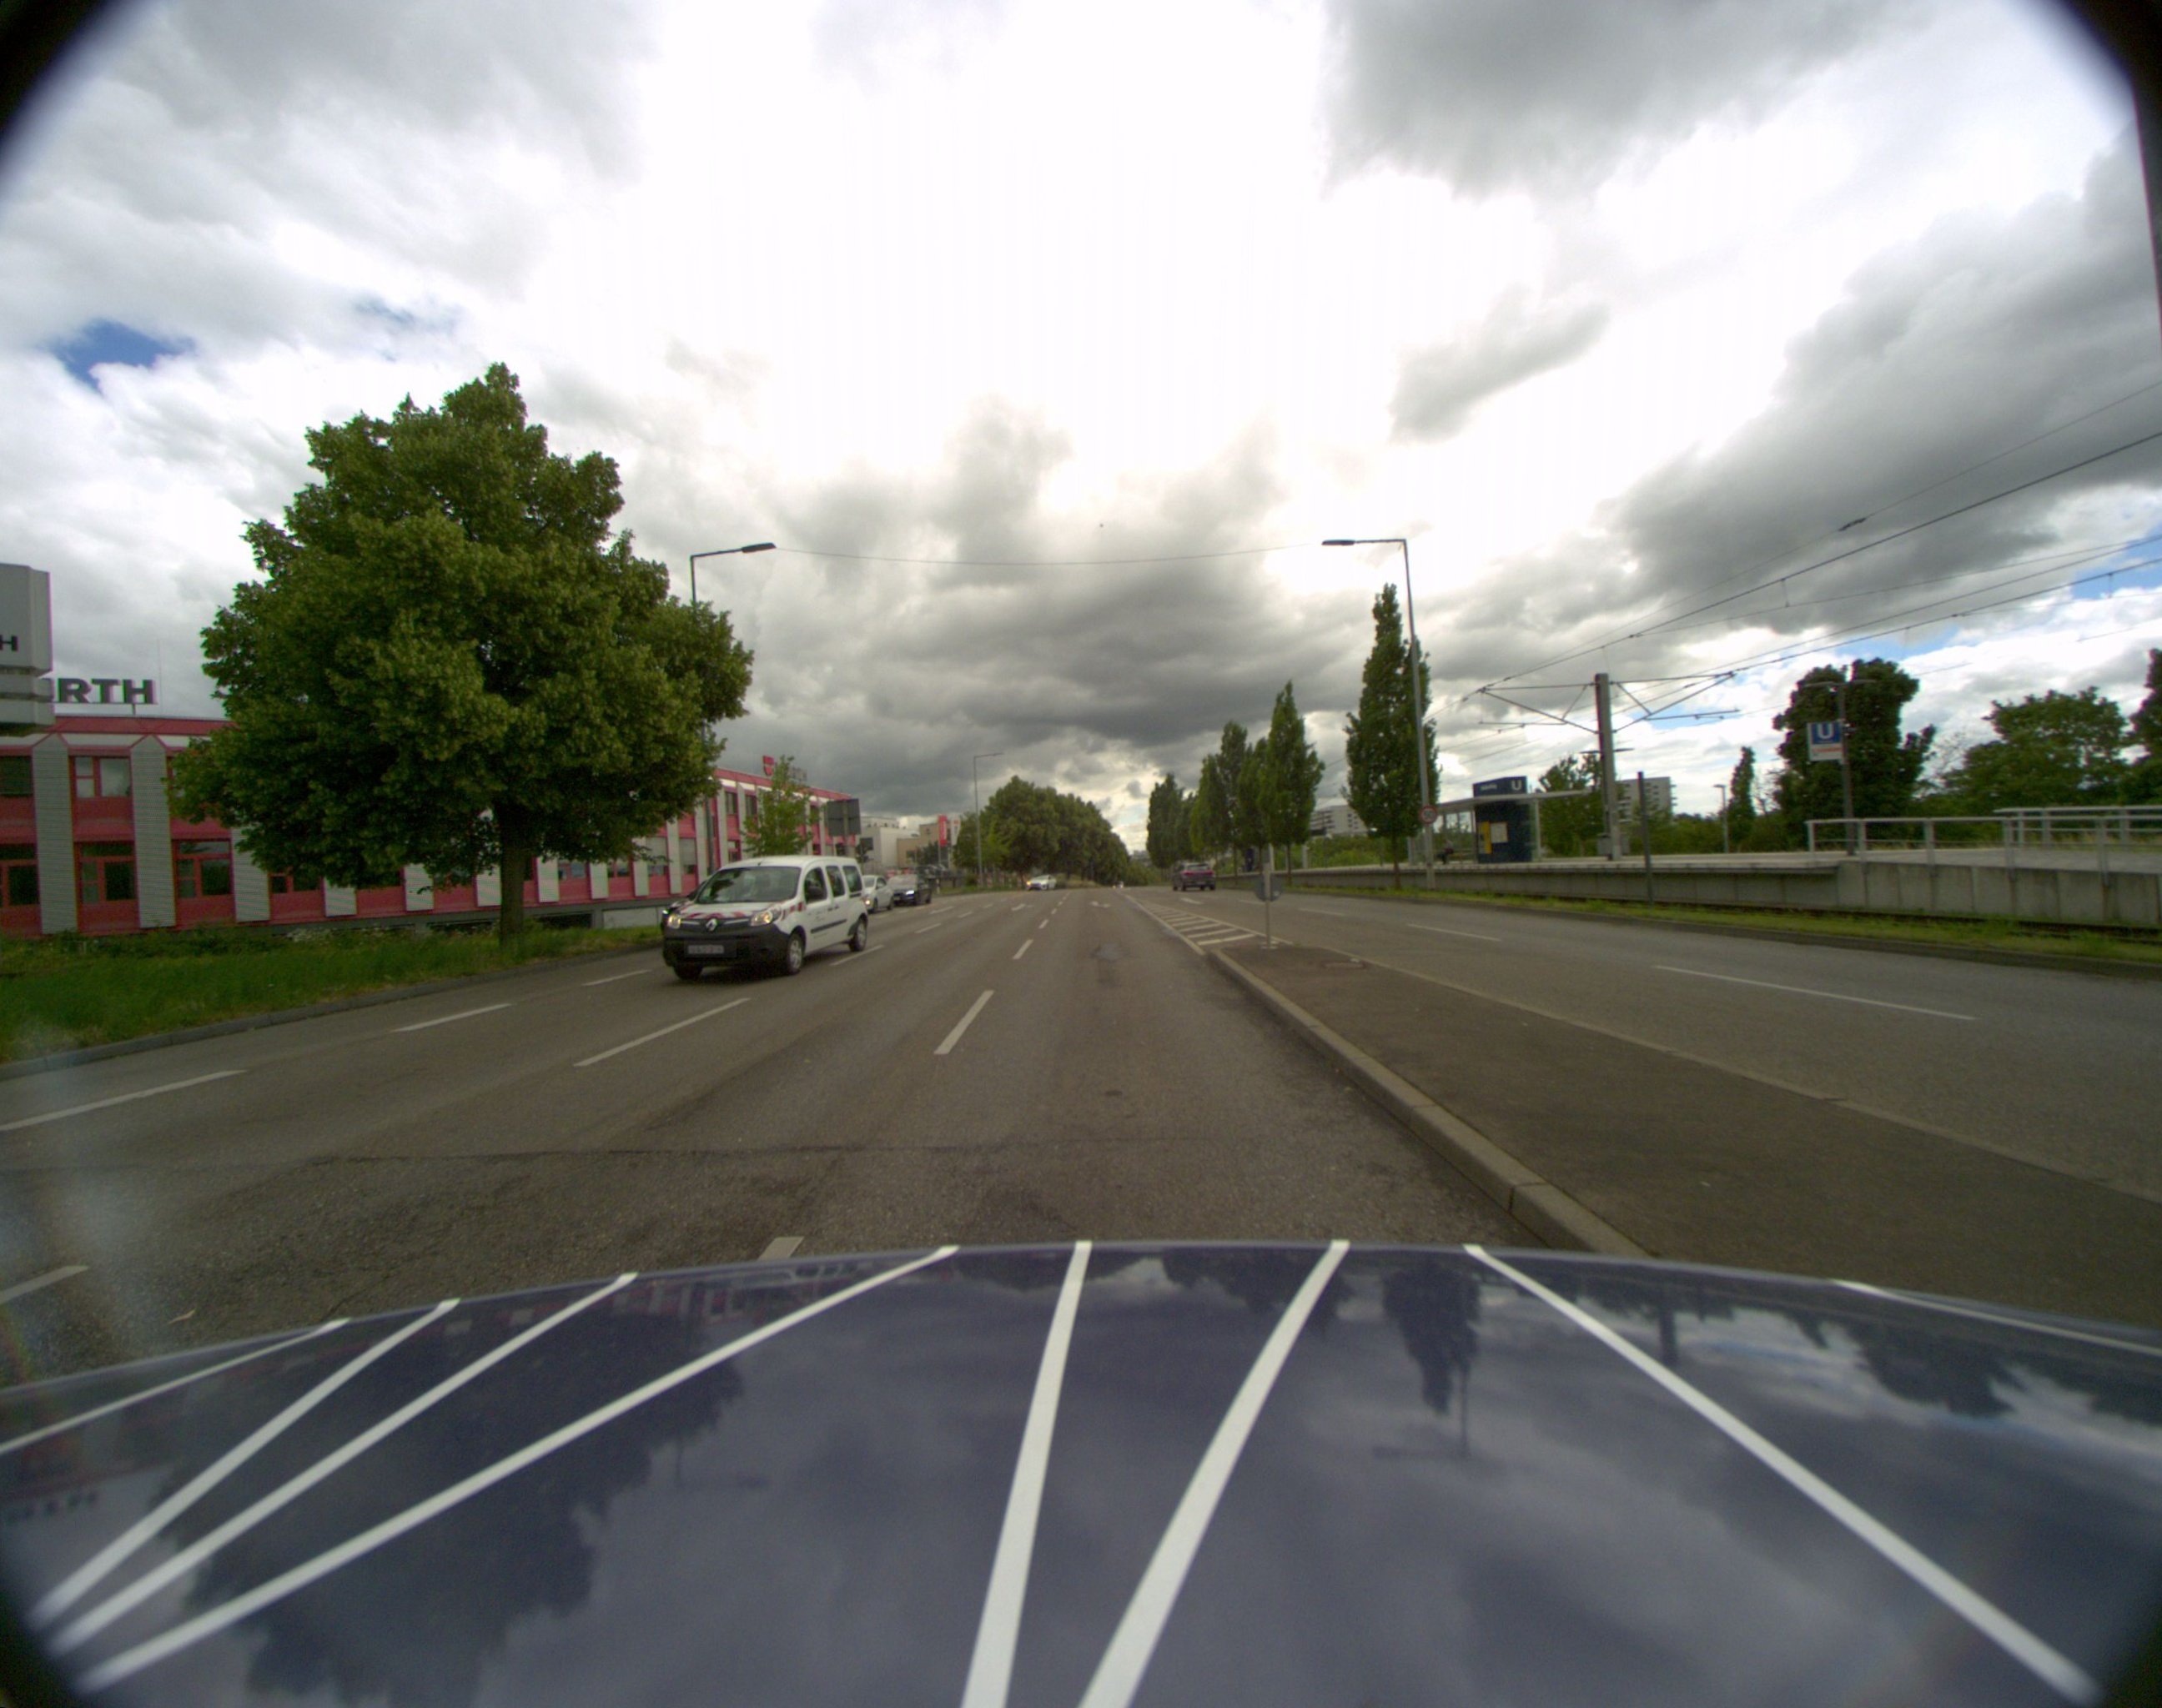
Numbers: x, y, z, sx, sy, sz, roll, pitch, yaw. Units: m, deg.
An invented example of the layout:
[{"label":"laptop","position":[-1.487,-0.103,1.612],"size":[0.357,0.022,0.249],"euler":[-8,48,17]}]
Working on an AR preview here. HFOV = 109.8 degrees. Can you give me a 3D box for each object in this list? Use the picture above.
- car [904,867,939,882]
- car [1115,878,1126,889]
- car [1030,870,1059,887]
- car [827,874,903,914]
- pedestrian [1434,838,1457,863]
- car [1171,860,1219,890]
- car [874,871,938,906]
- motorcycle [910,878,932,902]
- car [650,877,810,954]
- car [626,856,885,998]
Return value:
[{"label":"car","position":[-21.211,2.691,101.001],"size":[4.248,1.744,1.784],"euler":[-2,0,2]},{"label":"car","position":[7.002,5.285,135.334],"size":[1.782,1.744,4.253],"euler":[-2,0,4]},{"label":"car","position":[-3.184,2.186,67.111],"size":[1.784,1.353,4.484],"euler":[-2,-3,7]},{"label":"car","position":[-8.469,1.555,30.104],"size":[1.785,1.434,3.836],"euler":[-1,-2,1]},{"label":"pedestrian","position":[17.624,-0.175,36.728],"size":[0.663,1.195,0.782],"euler":[-2,0,-7]},{"label":"car","position":[6.385,1.129,42.914],"size":[1.783,1.537,4.223],"euler":[-2,0,-4]},{"label":"car","position":[-8.017,1.564,35.202],"size":[1.785,1.437,4.530],"euler":[-1,-2,1]},{"label":"motorcycle","position":[-8.319,1.862,39.508],"size":[0.750,1.140,1.943],"euler":[-4,-1,-3]},{"label":"car","position":[-8.458,1.410,18.781],"size":[1.785,1.639,4.427],"euler":[-1,-2,1]},{"label":"car","position":[-5.039,1.001,12.702],"size":[1.999,1.791,4.839],"euler":[-2,1,3]}]
